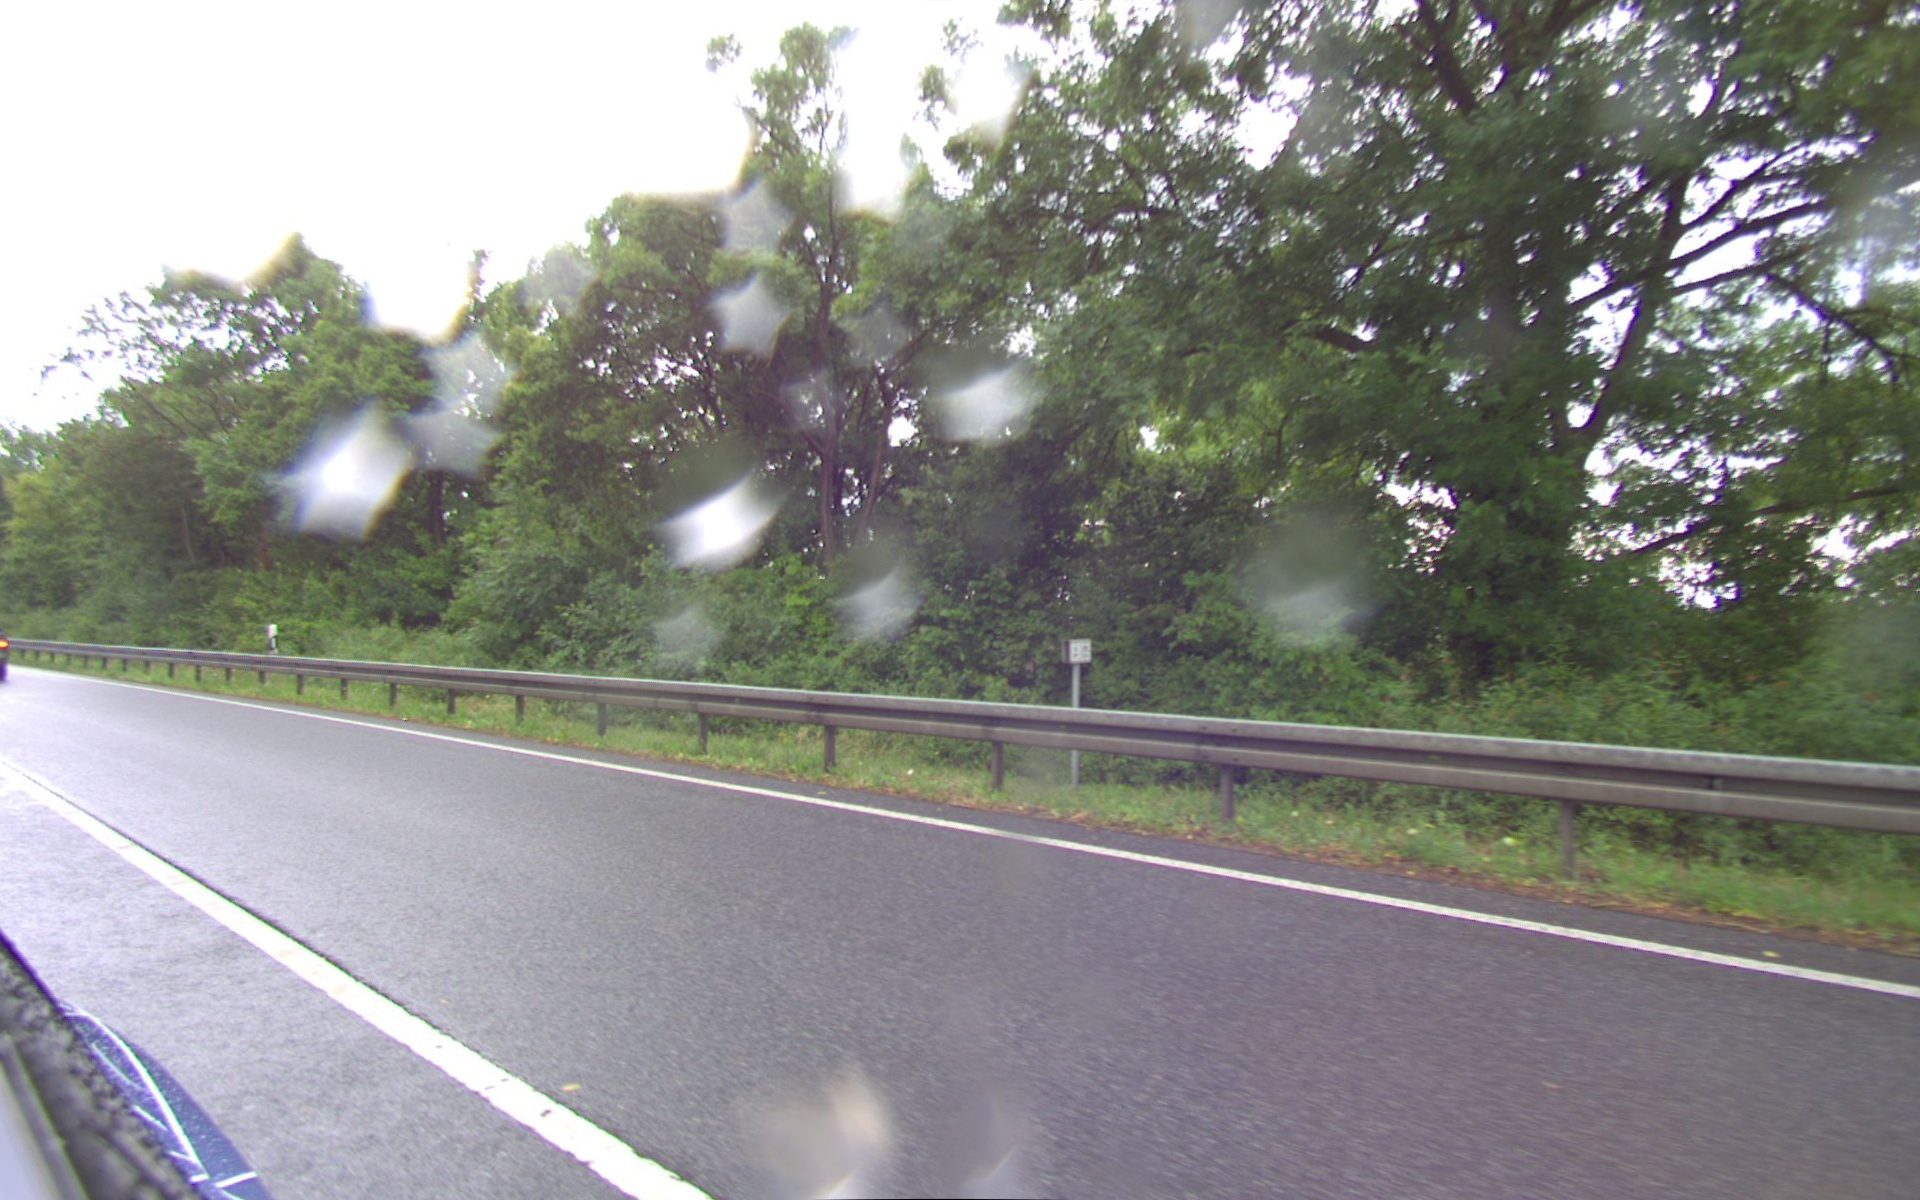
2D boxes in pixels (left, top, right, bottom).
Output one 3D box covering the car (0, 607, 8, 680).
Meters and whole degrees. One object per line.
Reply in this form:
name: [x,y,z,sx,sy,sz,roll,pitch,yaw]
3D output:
car: [-24.155,1.029,23.999,4.078,1.672,1.779,-1,-1,39]
